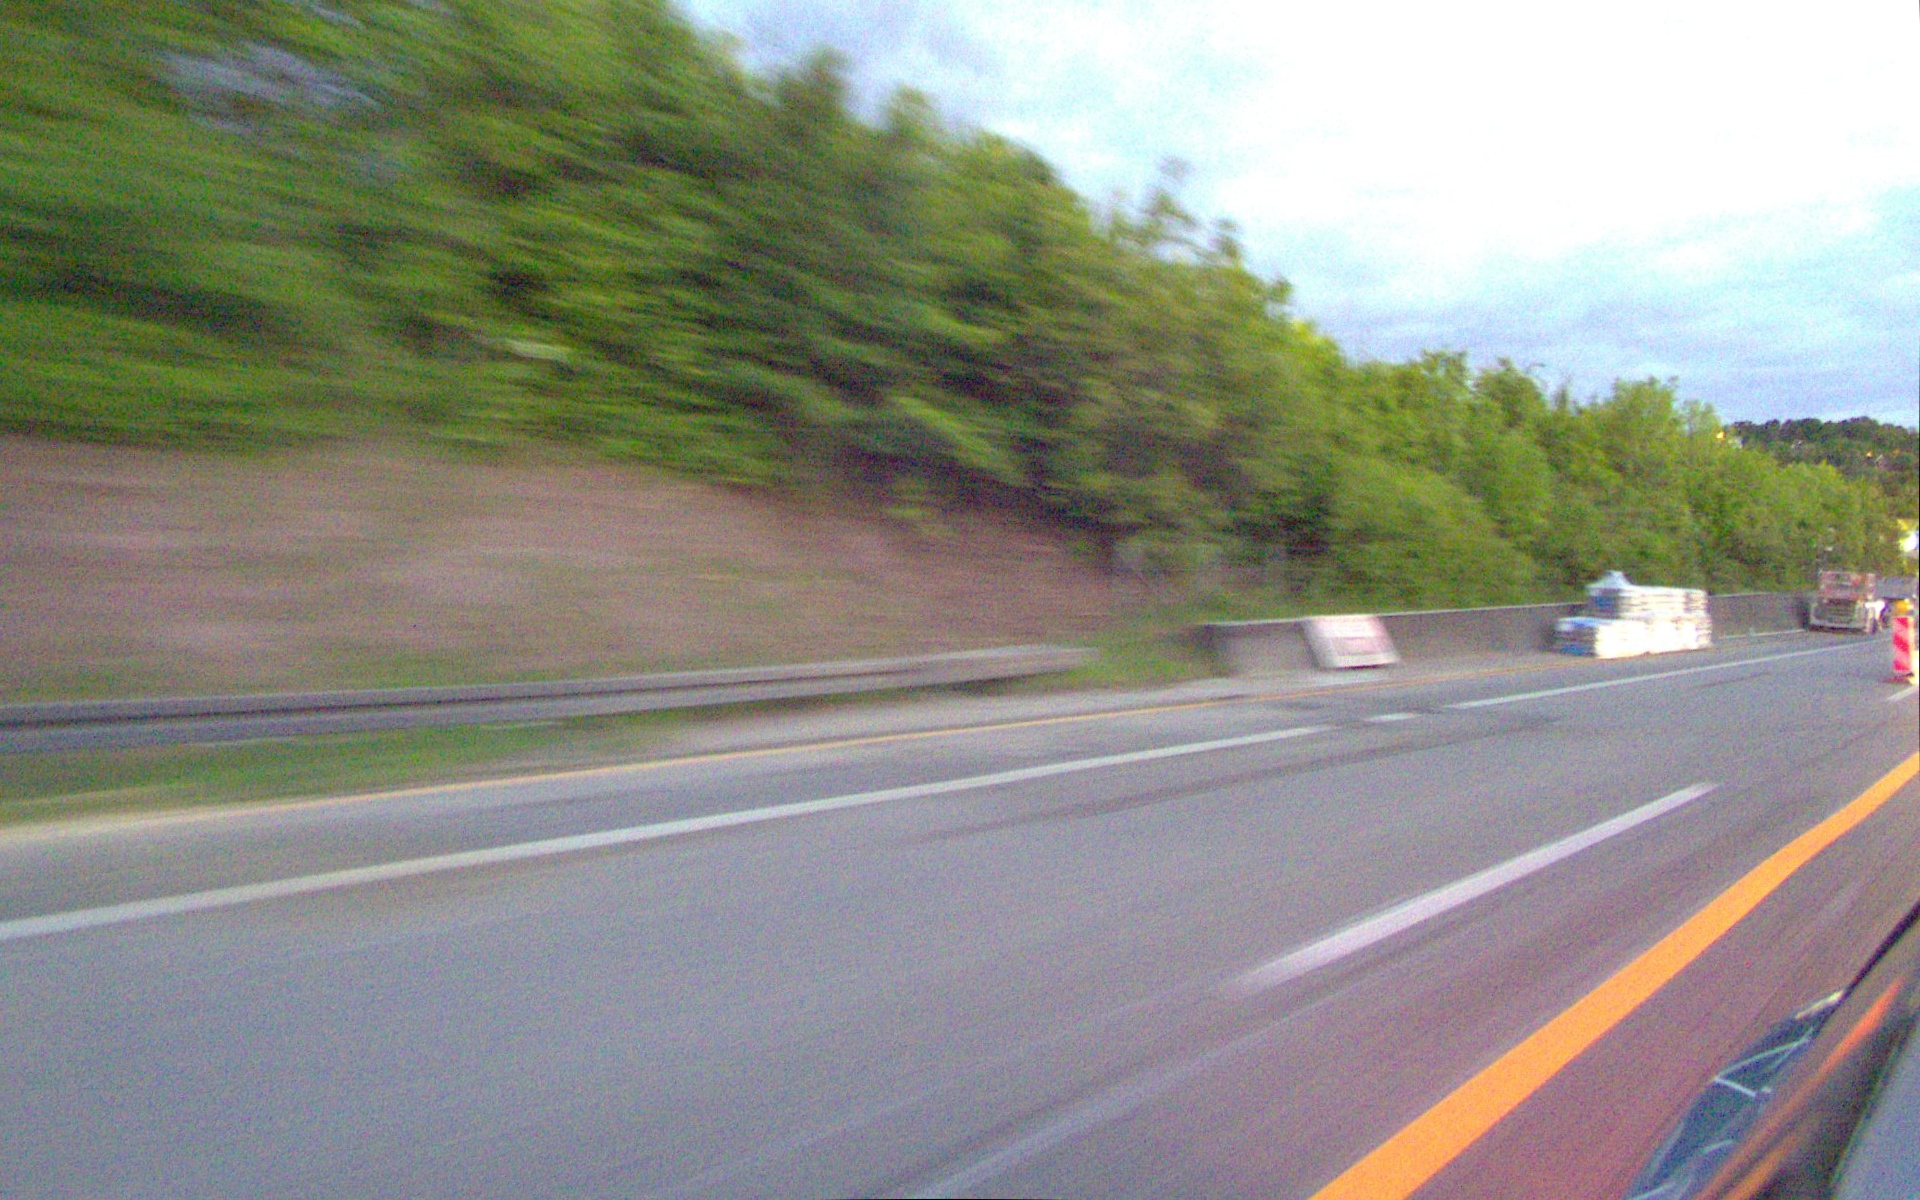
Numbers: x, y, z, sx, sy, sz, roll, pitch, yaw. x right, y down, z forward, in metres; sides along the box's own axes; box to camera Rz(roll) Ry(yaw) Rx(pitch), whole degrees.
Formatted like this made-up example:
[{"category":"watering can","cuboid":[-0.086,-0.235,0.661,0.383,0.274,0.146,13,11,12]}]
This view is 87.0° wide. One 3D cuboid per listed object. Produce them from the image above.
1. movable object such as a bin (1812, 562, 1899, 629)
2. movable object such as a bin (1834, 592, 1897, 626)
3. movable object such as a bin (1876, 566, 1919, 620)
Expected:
[{"category":"movable object such as a bin","cuboid":[44.402,-0.257,50.113,5.708,3.146,2.624,-1,2,-43]},{"category":"movable object such as a bin","cuboid":[47.897,0.451,53.517,4.014,1.621,1.997,-1,3,-42]},{"category":"movable object such as a bin","cuboid":[61.391,-0.494,65.525,5.484,3.359,2.568,-1,2,-43]}]
